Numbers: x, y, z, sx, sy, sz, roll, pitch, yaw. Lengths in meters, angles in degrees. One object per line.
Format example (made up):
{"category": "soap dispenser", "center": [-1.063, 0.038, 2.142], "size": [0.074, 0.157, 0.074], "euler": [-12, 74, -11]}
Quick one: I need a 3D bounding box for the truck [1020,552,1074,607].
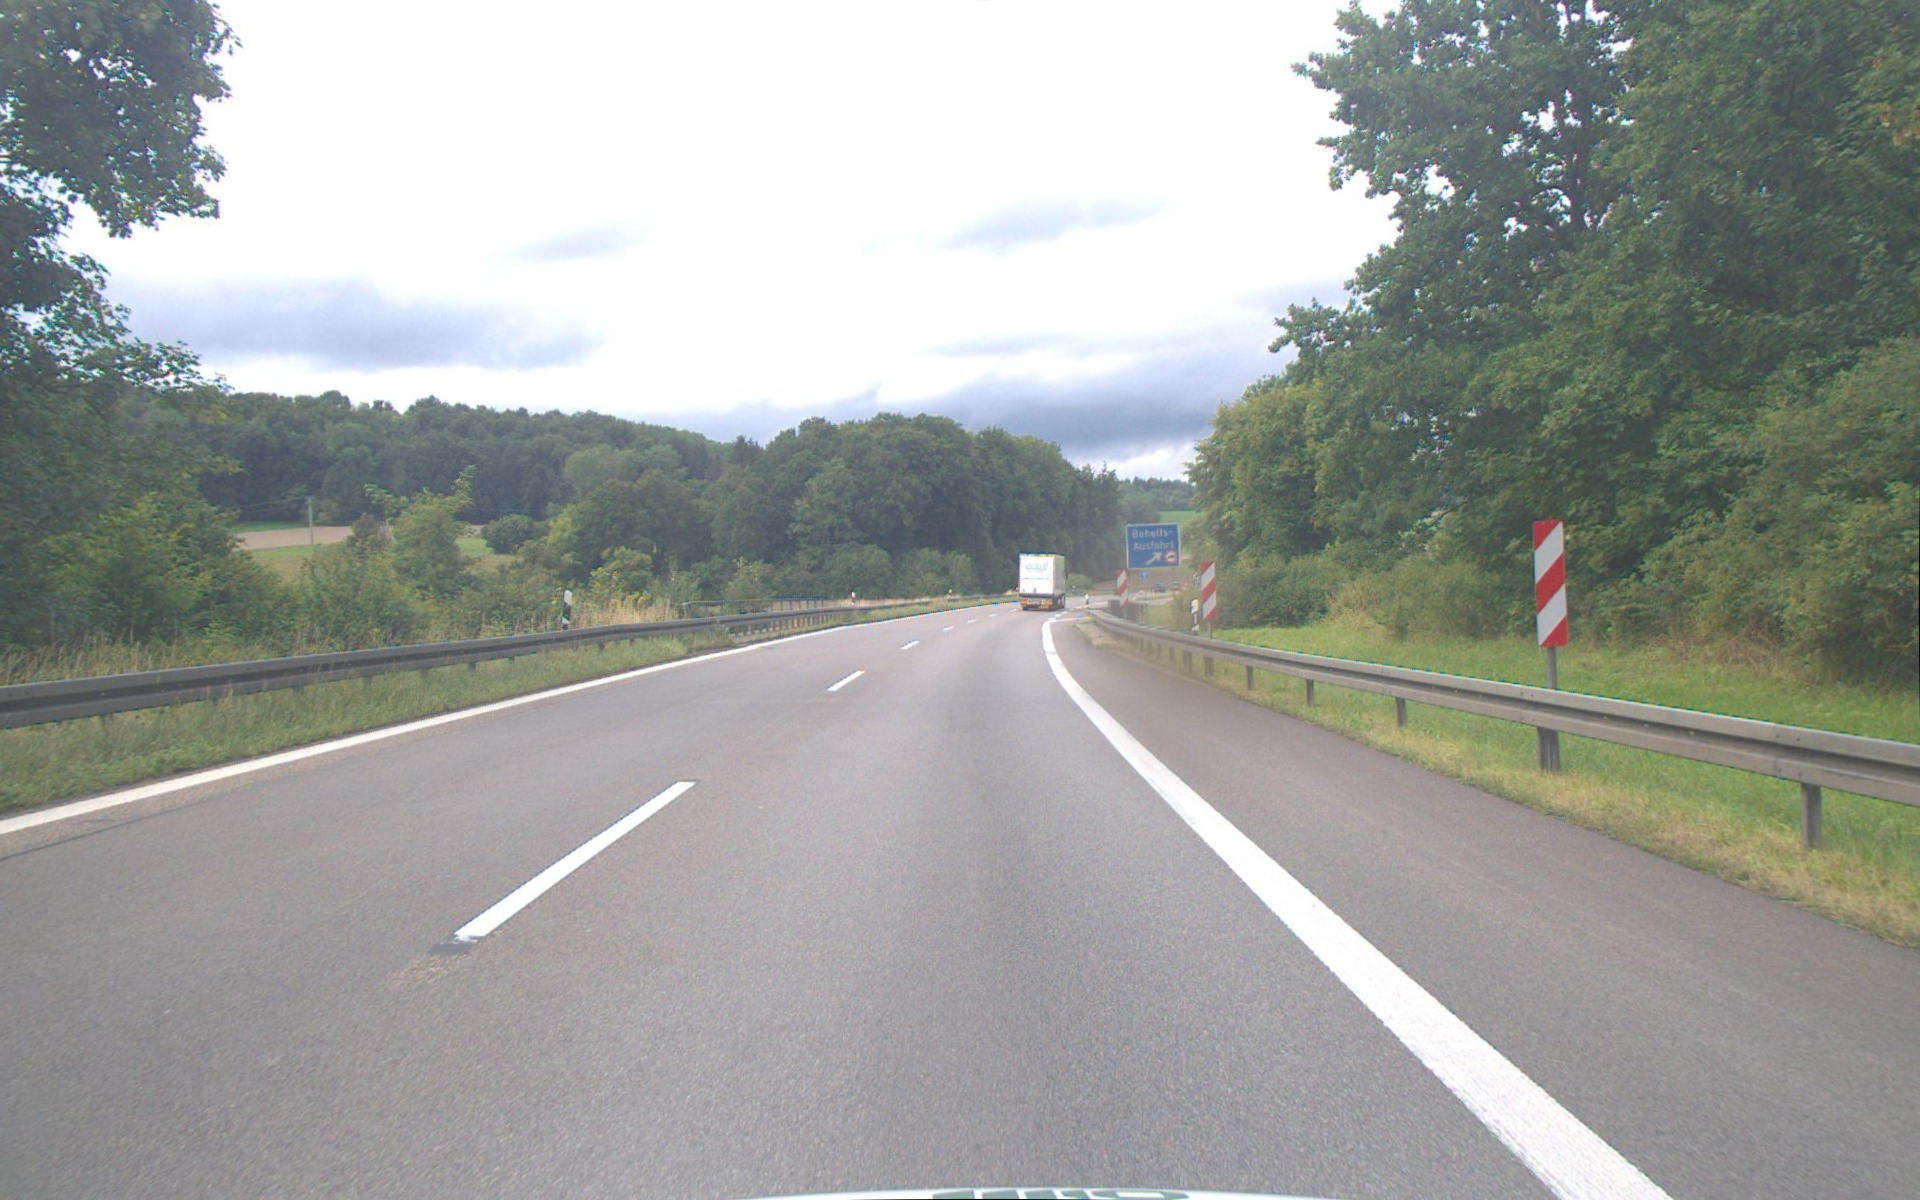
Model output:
{"category": "truck", "center": [6.931, -1.647, 130.746], "size": [3.707, 4.204, 8.271], "euler": [0, 1, 6]}

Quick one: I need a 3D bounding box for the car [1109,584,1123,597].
{"category": "car", "center": [22.653, -1.345, 240.585], "size": [1.862, 1.827, 4.003], "euler": [0, -1, 8]}

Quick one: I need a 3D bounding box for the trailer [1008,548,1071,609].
{"category": "trailer", "center": [6.070, -1.577, 123.227], "size": [3.725, 4.247, 14.819], "euler": [0, 0, 7]}
